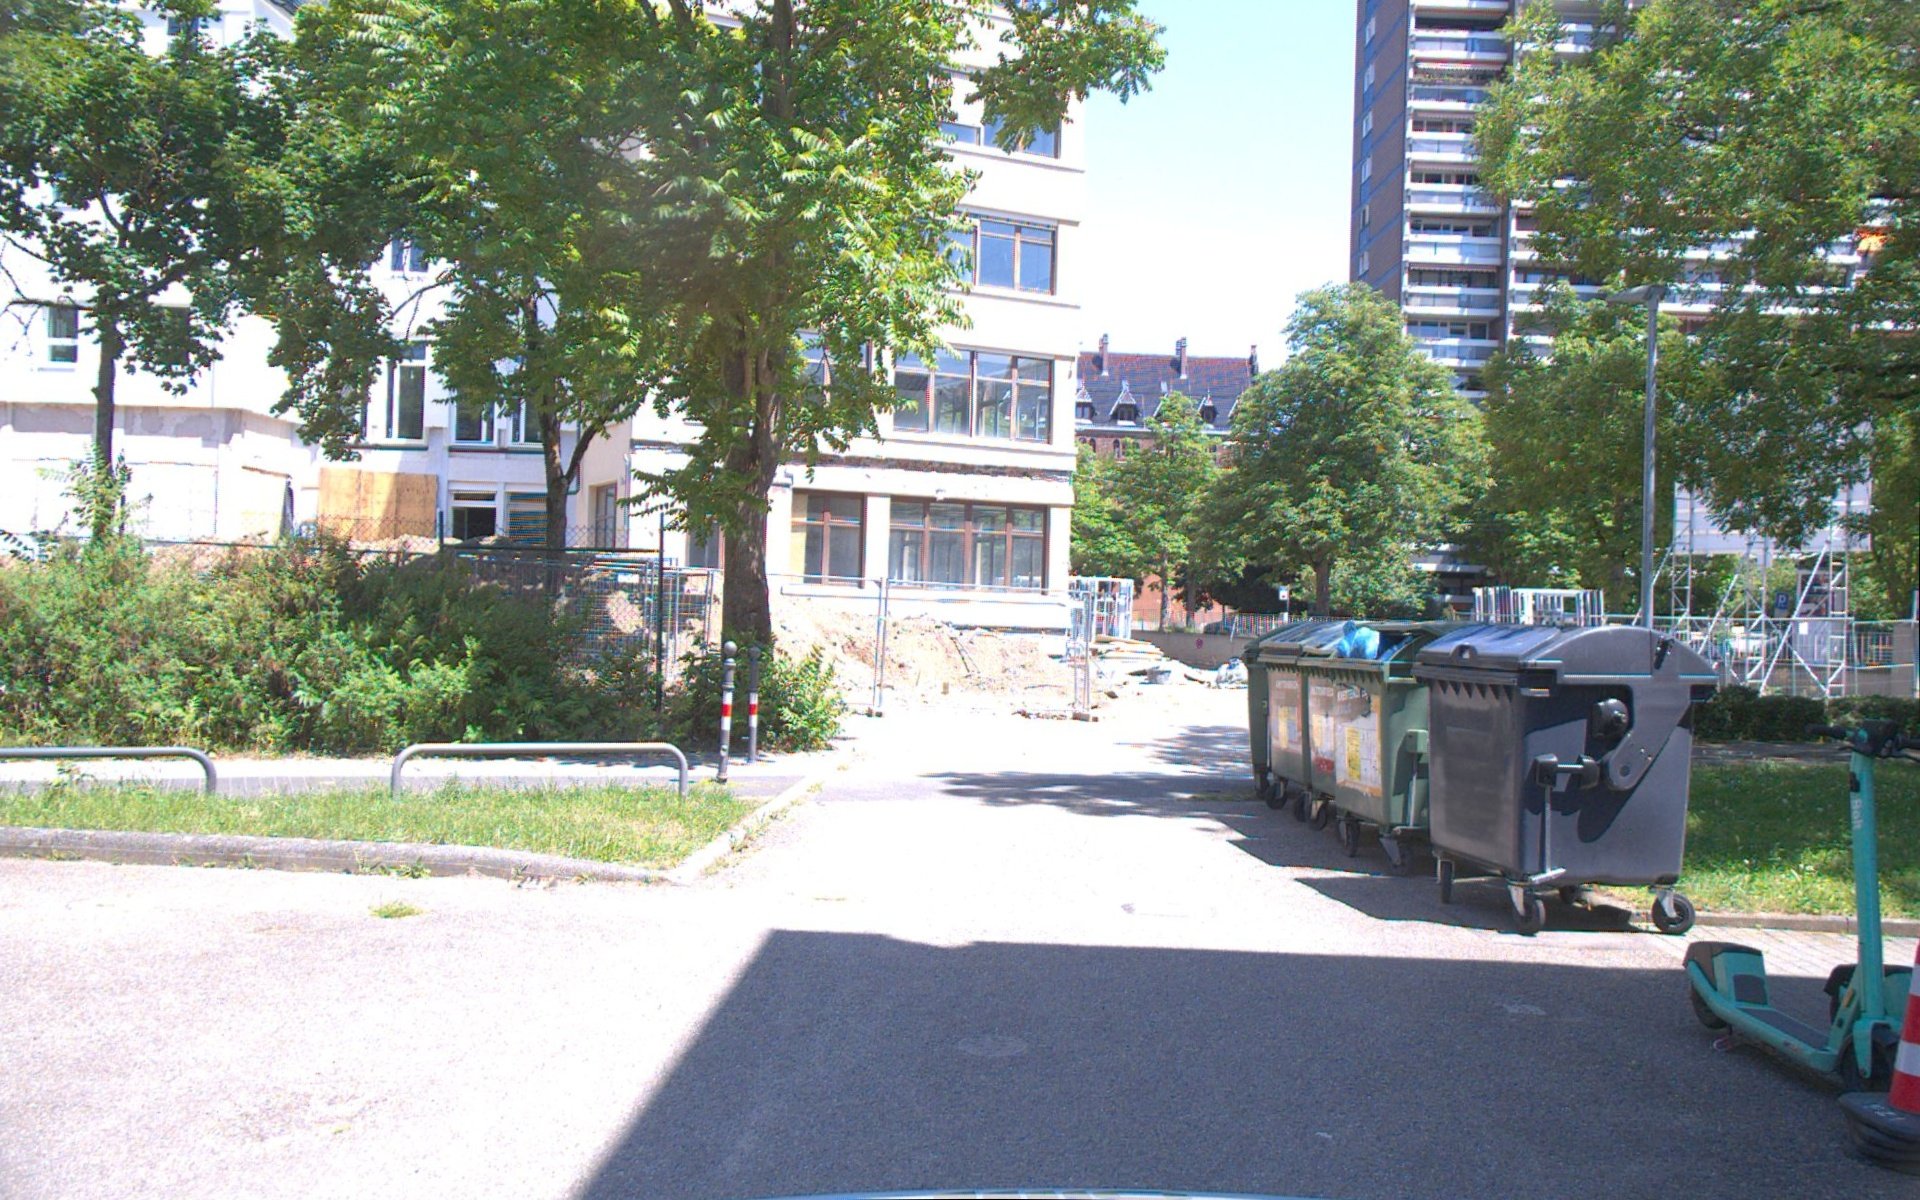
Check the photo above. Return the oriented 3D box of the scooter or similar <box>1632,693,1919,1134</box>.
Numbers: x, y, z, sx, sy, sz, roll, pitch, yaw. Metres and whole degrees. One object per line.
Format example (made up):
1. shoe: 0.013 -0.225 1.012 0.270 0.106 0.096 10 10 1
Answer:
1. scooter or similar: 2.810 0.951 5.481 0.455 1.194 1.355 2 0 -7

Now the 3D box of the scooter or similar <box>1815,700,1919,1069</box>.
1. scooter or similar: 3.464 0.969 5.389 0.456 1.194 1.251 2 0 -15

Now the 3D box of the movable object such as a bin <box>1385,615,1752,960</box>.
1. movable object such as a bin: 2.966 0.866 8.250 1.133 1.531 1.460 2 -1 -7

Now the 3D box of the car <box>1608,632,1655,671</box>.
1. car: 26.307 2.011 64.853 1.600 1.411 3.677 2 0 21

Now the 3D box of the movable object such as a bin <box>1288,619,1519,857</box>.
1. movable object such as a bin: 3.004 0.902 11.370 1.155 1.495 1.311 2 -1 -2

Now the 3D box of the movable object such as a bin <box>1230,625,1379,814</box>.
1. movable object such as a bin: 2.993 0.994 14.351 1.154 1.495 1.334 2 -1 13

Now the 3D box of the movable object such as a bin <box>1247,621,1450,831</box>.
1. movable object such as a bin: 2.969 0.937 12.812 1.155 1.495 1.310 2 -1 -4

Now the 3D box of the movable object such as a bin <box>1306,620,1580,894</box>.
1. movable object such as a bin: 2.866 0.896 9.987 1.156 1.495 1.310 2 -1 -5

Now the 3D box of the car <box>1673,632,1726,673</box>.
1. car: 27.557 1.936 61.709 1.600 1.411 3.677 2 0 21
